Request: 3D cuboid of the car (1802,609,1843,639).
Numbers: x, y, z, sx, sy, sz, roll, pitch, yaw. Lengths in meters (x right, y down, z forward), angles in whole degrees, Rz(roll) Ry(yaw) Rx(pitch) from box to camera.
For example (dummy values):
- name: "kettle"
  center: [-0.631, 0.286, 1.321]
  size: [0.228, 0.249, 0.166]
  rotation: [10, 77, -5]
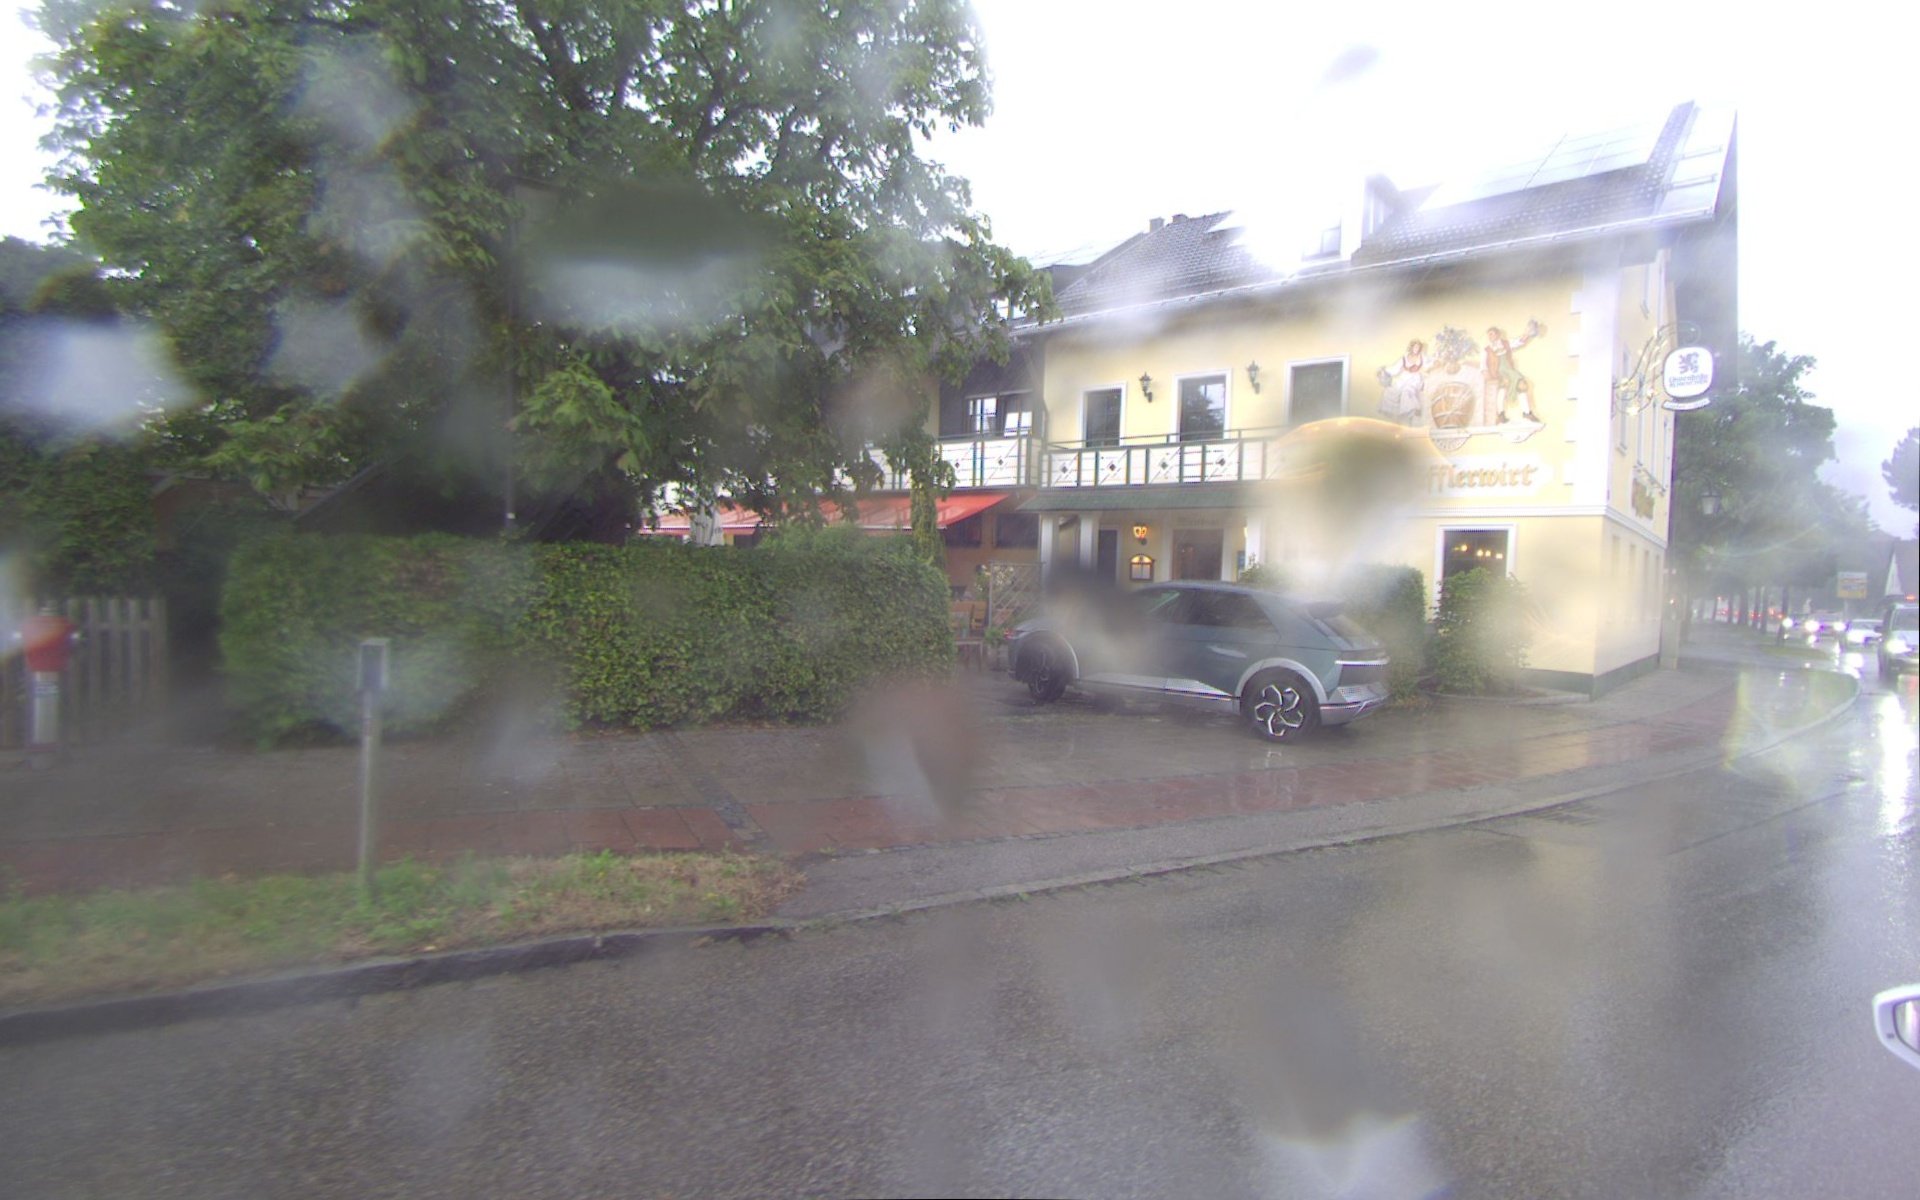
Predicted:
- name: "car"
  center: [53.545, 1.512, 62.428]
  size: [1.841, 1.781, 4.461]
  rotation: [-2, -2, 40]

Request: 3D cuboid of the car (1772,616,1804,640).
- name: "car"
  center: [64.866, 2.179, 78.708]
  size: [1.841, 1.781, 4.461]
  rotation: [-2, -2, 40]

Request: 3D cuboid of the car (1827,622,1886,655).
- name: "car"
  center: [40.721, 1.718, 45.680]
  size: [1.840, 1.377, 4.462]
  rotation: [0, 0, 40]

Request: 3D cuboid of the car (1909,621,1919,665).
- name: "car"
  center: [45.136, 2.016, 45.850]
  size: [2.143, 1.925, 4.991]
  rotation: [3, 2, 39]

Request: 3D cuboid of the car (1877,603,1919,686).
- name: "car"
  center: [24.779, 1.136, 25.728]
  size: [1.830, 1.997, 4.677]
  rotation: [0, -1, 42]

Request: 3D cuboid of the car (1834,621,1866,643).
- name: "car"
  center: [90.441, 3.223, 102.102]
  size: [2.143, 1.925, 4.991]
  rotation: [3, 2, 39]

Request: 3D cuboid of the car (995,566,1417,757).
- name: "car"
  center: [2.765, 0.534, 11.876]
  size: [4.419, 1.589, 1.831]
  rotation: [6, 5, 38]
